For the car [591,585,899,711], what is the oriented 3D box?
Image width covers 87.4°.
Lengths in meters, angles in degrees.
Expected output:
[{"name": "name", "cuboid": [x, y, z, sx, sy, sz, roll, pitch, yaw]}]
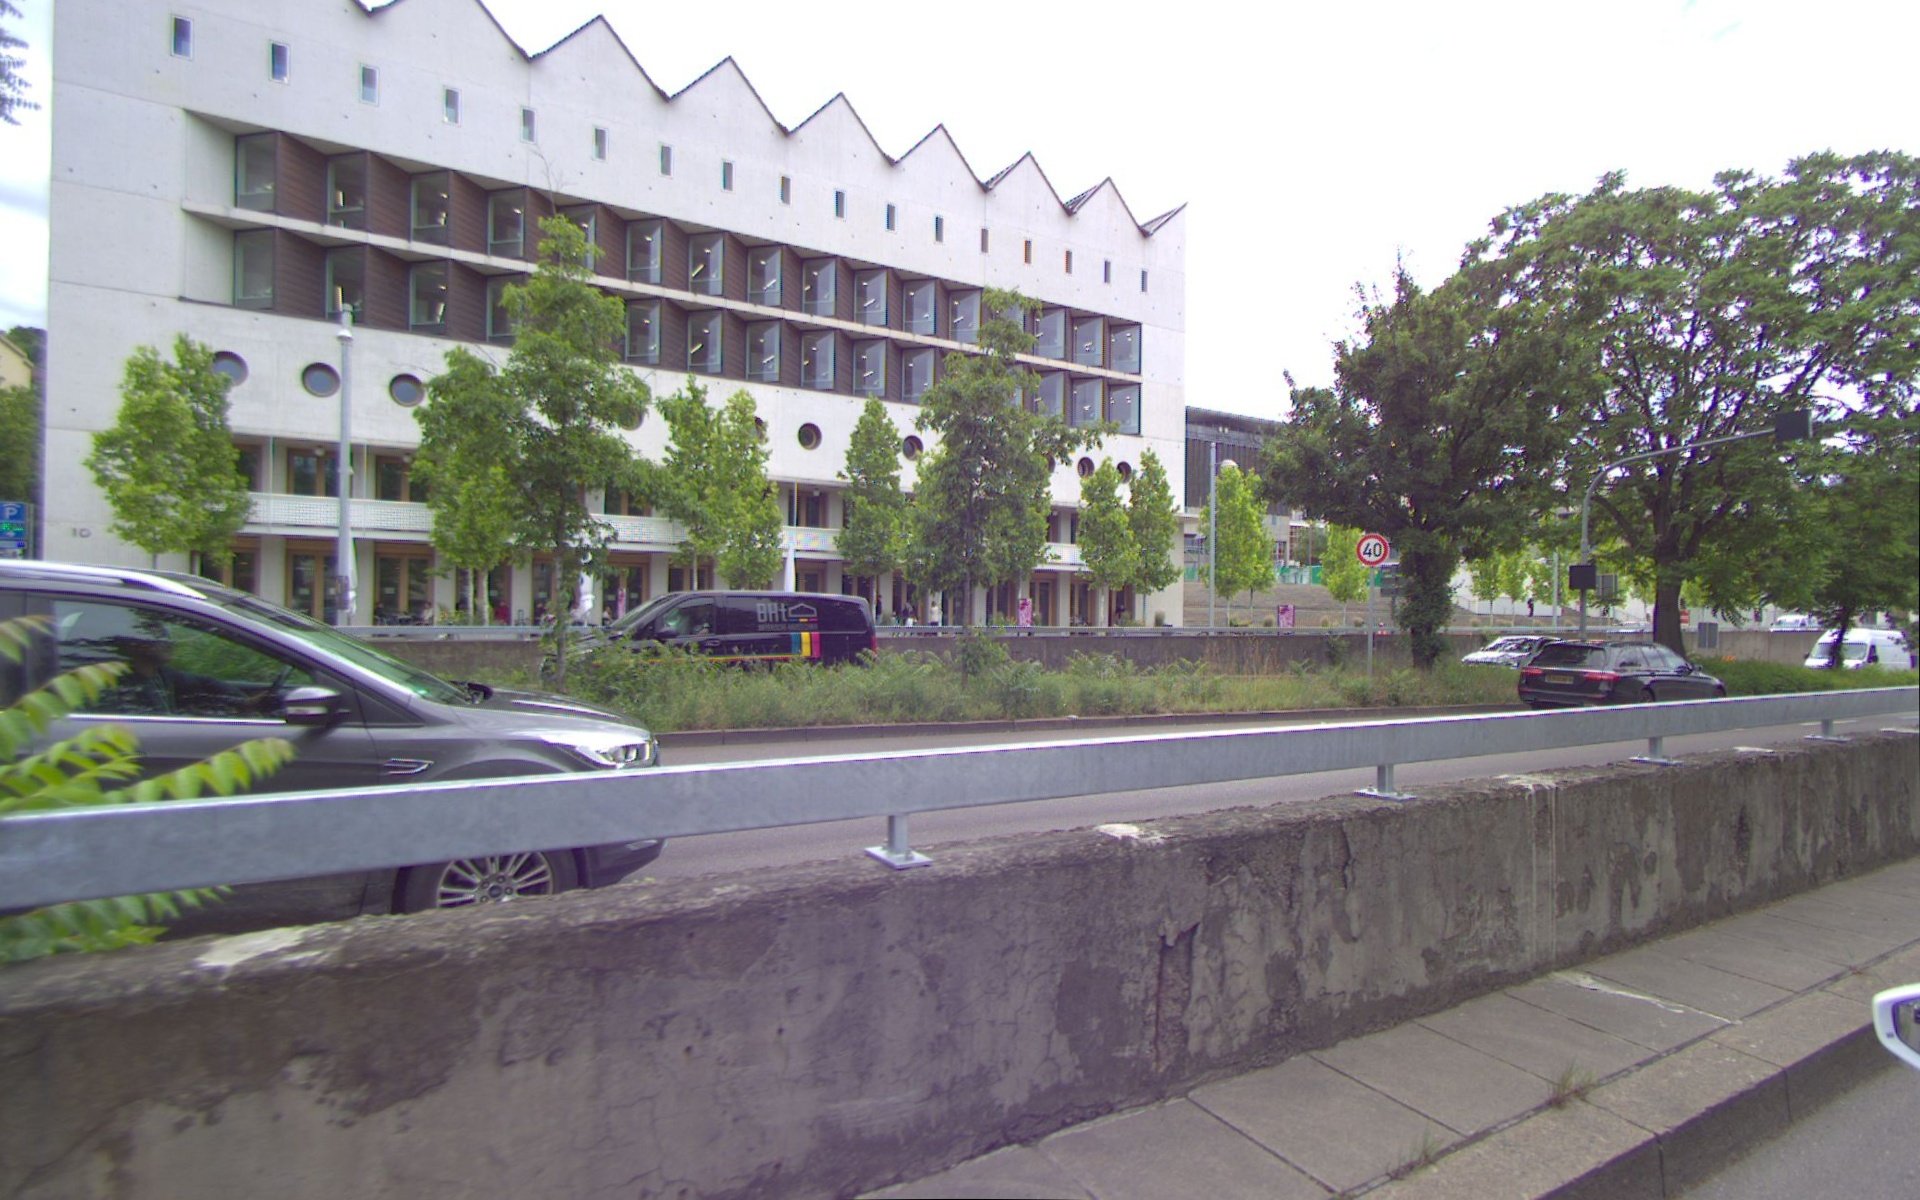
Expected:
[{"name": "car", "cuboid": [-3.328, 0.712, 15.842, 4.396, 1.740, 1.847, 1, -1, -32]}]

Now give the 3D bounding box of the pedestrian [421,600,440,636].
[{"name": "pedestrian", "cuboid": [-19.837, 0.681, 37.646, 0.559, 1.344, 0.516, 2, -2, -30]}]

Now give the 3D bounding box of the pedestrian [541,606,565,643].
[{"name": "pedestrian", "cuboid": [-15.319, 0.935, 37.832, 0.622, 1.344, 0.651, -2, -5, -4]}]

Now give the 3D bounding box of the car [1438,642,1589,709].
[{"name": "car", "cuboid": [15.933, 2.097, 28.848, 4.394, 1.740, 1.848, 1, -1, -31]}]

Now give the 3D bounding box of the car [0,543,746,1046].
[{"name": "car", "cuboid": [-3.479, 0.661, 4.456, 4.604, 1.738, 1.884, 1, 1, -31]}]

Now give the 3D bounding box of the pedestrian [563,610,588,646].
[{"name": "pedestrian", "cuboid": [-14.809, 1.069, 38.706, 0.657, 1.345, 0.790, 1, 0, -4]}]

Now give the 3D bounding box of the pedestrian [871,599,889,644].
[{"name": "pedestrian", "cuboid": [-3.709, 1.006, 46.464, 0.623, 2.040, 0.629, 2, -3, -30]}]

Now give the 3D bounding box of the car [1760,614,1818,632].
[{"name": "car", "cuboid": [59.815, 1.639, 72.432, 4.756, 1.133, 1.799, 2, 1, -33]}]

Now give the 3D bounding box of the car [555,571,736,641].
[{"name": "car", "cuboid": [-8.389, 0.214, 26.866, 4.340, 1.740, 1.848, 1, -1, -30]}]

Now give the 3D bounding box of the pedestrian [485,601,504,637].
[{"name": "pedestrian", "cuboid": [-18.010, 0.744, 38.871, 0.559, 1.344, 0.516, 2, -2, -30]}]

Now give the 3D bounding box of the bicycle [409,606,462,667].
[{"name": "bicycle", "cuboid": [-15.630, 1.037, 29.859, 1.169, 1.706, 3.594, 1, -1, -31]}]

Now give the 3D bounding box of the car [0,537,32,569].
[{"name": "car", "cuboid": [-65.692, -3.208, 68.155, 3.639, 2.040, 1.577, 1, -1, -29]}]

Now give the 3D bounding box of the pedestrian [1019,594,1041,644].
[{"name": "pedestrian", "cuboid": [2.955, 0.794, 42.437, 0.623, 2.040, 0.629, 2, 1, -30]}]

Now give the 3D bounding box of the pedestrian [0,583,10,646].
[{"name": "pedestrian", "cuboid": [-24.188, 0.355, 24.861, 0.865, 1.577, 0.598, 0, -1, 17]}]

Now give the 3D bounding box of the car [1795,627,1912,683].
[{"name": "car", "cuboid": [38.067, 2.324, 42.737, 6.142, 2.194, 1.965, 2, 0, -31]}]

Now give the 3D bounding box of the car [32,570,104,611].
[{"name": "car", "cuboid": [-46.196, -0.495, 52.127, 1.976, 1.874, 3.968, 2, 2, -30]}]

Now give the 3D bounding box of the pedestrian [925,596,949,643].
[{"name": "pedestrian", "cuboid": [-1.056, 0.898, 46.112, 0.732, 2.037, 0.706, 3, -10, -37]}]

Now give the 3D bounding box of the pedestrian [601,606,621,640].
[{"name": "pedestrian", "cuboid": [-14.109, 0.914, 40.604, 0.643, 1.345, 0.630, 1, 0, -28]}]

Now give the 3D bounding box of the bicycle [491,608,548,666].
[{"name": "bicycle", "cuboid": [-13.787, 1.125, 31.359, 1.169, 1.706, 3.594, 1, -1, -31]}]

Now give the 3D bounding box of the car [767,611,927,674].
[{"name": "car", "cuboid": [-3.338, 1.240, 29.919, 4.393, 1.740, 1.848, 1, -1, -30]}]

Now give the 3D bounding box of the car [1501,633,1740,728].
[{"name": "car", "cuboid": [12.359, 1.439, 18.712, 4.807, 1.479, 1.803, 2, 1, -31]}]

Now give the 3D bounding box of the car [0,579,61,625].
[{"name": "car", "cuboid": [-32.508, 0.033, 34.406, 1.731, 1.293, 3.967, 2, 2, -30]}]

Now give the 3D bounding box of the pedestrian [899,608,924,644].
[{"name": "pedestrian", "cuboid": [-2.145, 1.154, 44.482, 0.902, 1.543, 0.629, 1, -1, -33]}]

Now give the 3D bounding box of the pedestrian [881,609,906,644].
[{"name": "pedestrian", "cuboid": [-2.955, 1.176, 44.788, 0.903, 1.543, 0.628, 0, 0, -35]}]

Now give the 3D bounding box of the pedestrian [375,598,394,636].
[{"name": "pedestrian", "cuboid": [-21.130, 0.633, 36.896, 0.559, 1.344, 0.516, 2, -2, -30]}]
